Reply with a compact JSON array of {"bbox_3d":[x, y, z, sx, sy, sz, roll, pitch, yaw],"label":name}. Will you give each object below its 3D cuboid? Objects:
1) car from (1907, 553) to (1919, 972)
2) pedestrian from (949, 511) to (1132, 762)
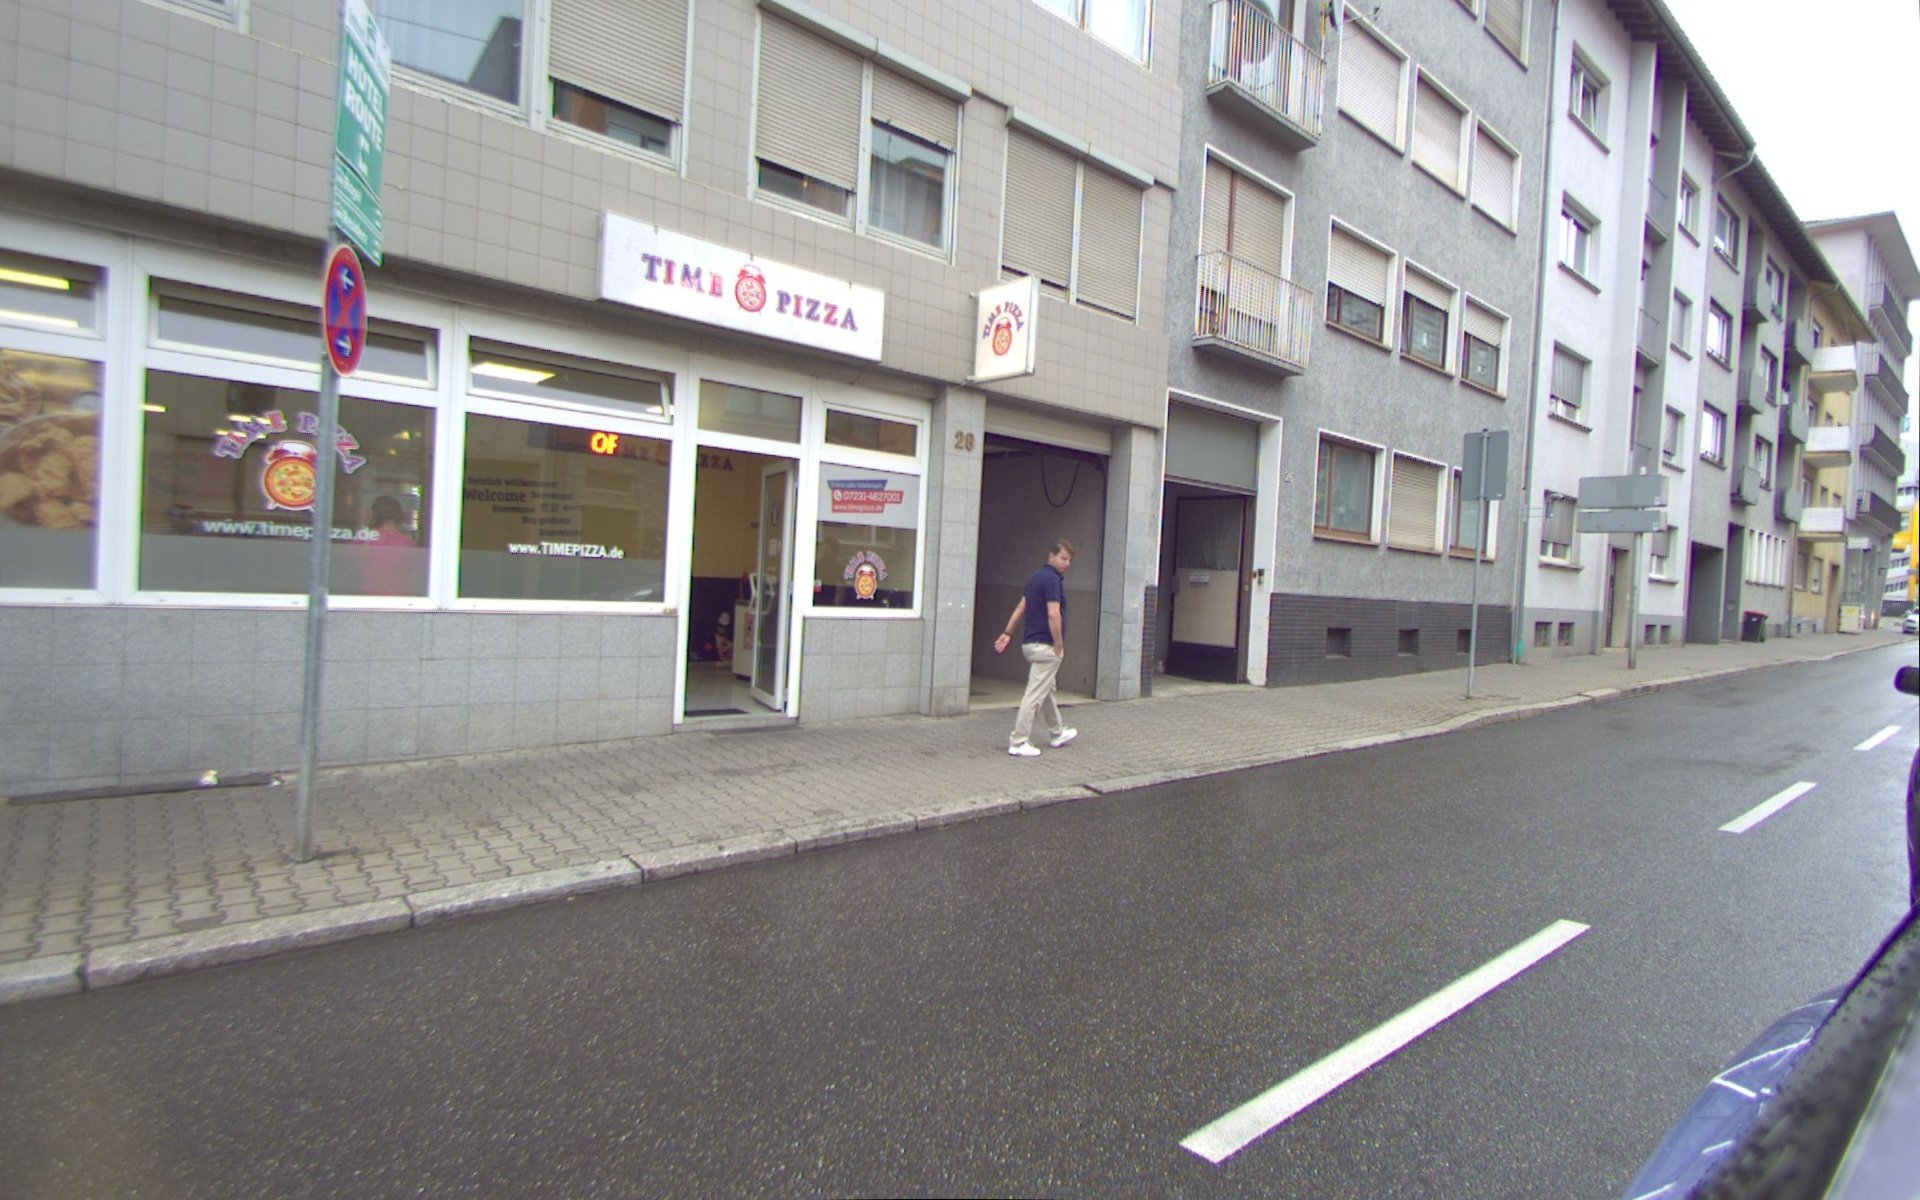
[{"bbox_3d":[6.075,0.659,4.944,4.144,1.743,1.697,-1,0,-41],"label":"car"},{"bbox_3d":[0.665,0.257,8.421,1.100,1.887,0.871,0,7,-41],"label":"pedestrian"}]
